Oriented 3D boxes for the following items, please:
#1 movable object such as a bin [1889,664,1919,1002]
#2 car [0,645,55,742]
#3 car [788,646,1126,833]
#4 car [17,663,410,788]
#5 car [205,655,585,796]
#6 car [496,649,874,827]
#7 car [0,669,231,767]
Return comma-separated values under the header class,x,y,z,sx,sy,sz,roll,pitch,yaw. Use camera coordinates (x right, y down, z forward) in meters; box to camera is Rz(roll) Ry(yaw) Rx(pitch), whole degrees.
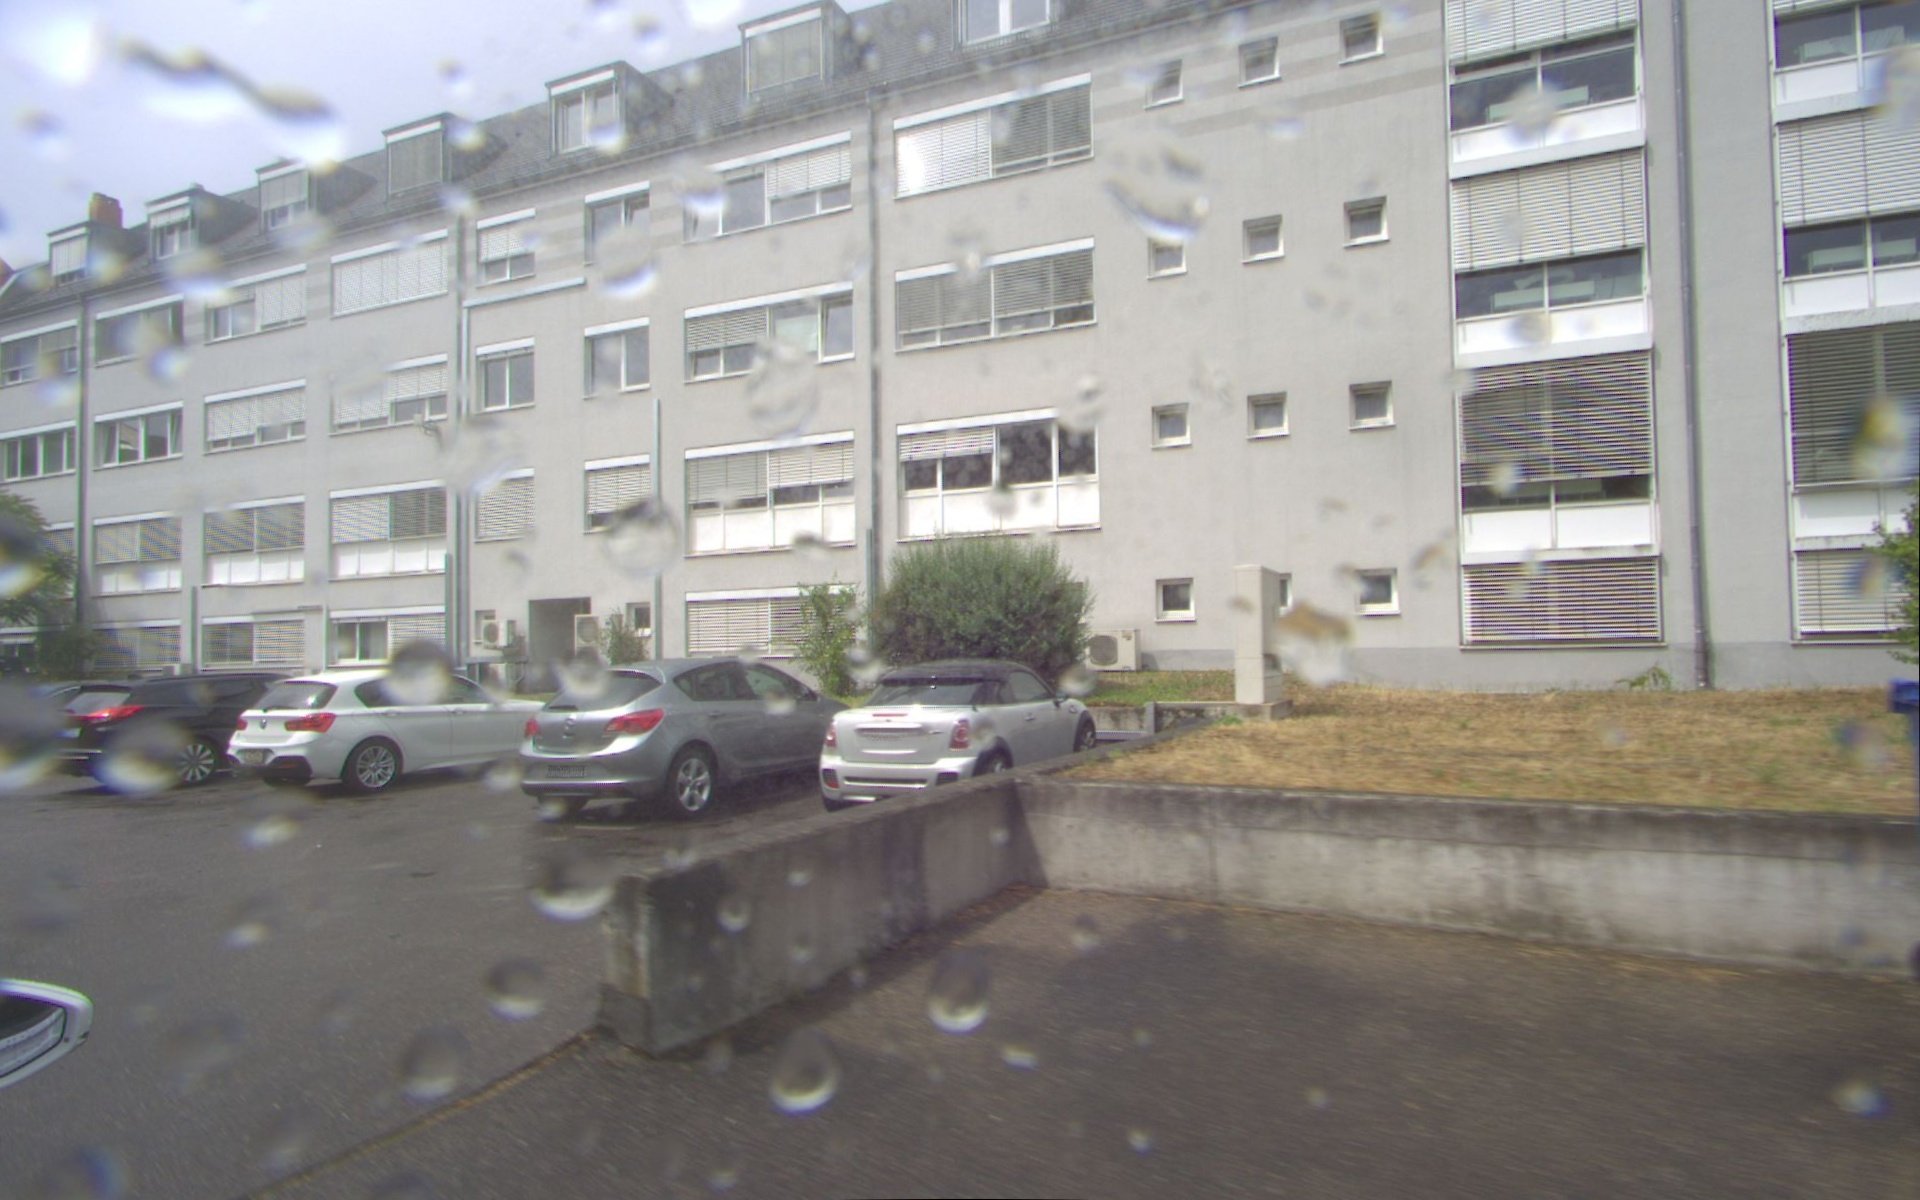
class,x,y,z,sx,sy,sz,roll,pitch,yaw
movable object such as a bin,4.100,0.903,3.423,1.039,1.334,1.229,-1,-2,28
car,-19.932,1.786,18.232,2.075,1.856,4.715,-2,-2,21
car,0.201,1.223,10.135,1.763,1.371,3.985,-2,-2,27
car,-10.428,1.679,14.409,1.907,1.418,4.176,-2,-3,21
car,-7.150,1.503,13.172,1.803,1.473,4.100,-2,-3,24
car,-2.649,1.298,10.666,1.641,1.476,4.083,-3,-3,24
car,-14.585,1.842,16.087,1.829,1.365,4.360,-1,-3,21
